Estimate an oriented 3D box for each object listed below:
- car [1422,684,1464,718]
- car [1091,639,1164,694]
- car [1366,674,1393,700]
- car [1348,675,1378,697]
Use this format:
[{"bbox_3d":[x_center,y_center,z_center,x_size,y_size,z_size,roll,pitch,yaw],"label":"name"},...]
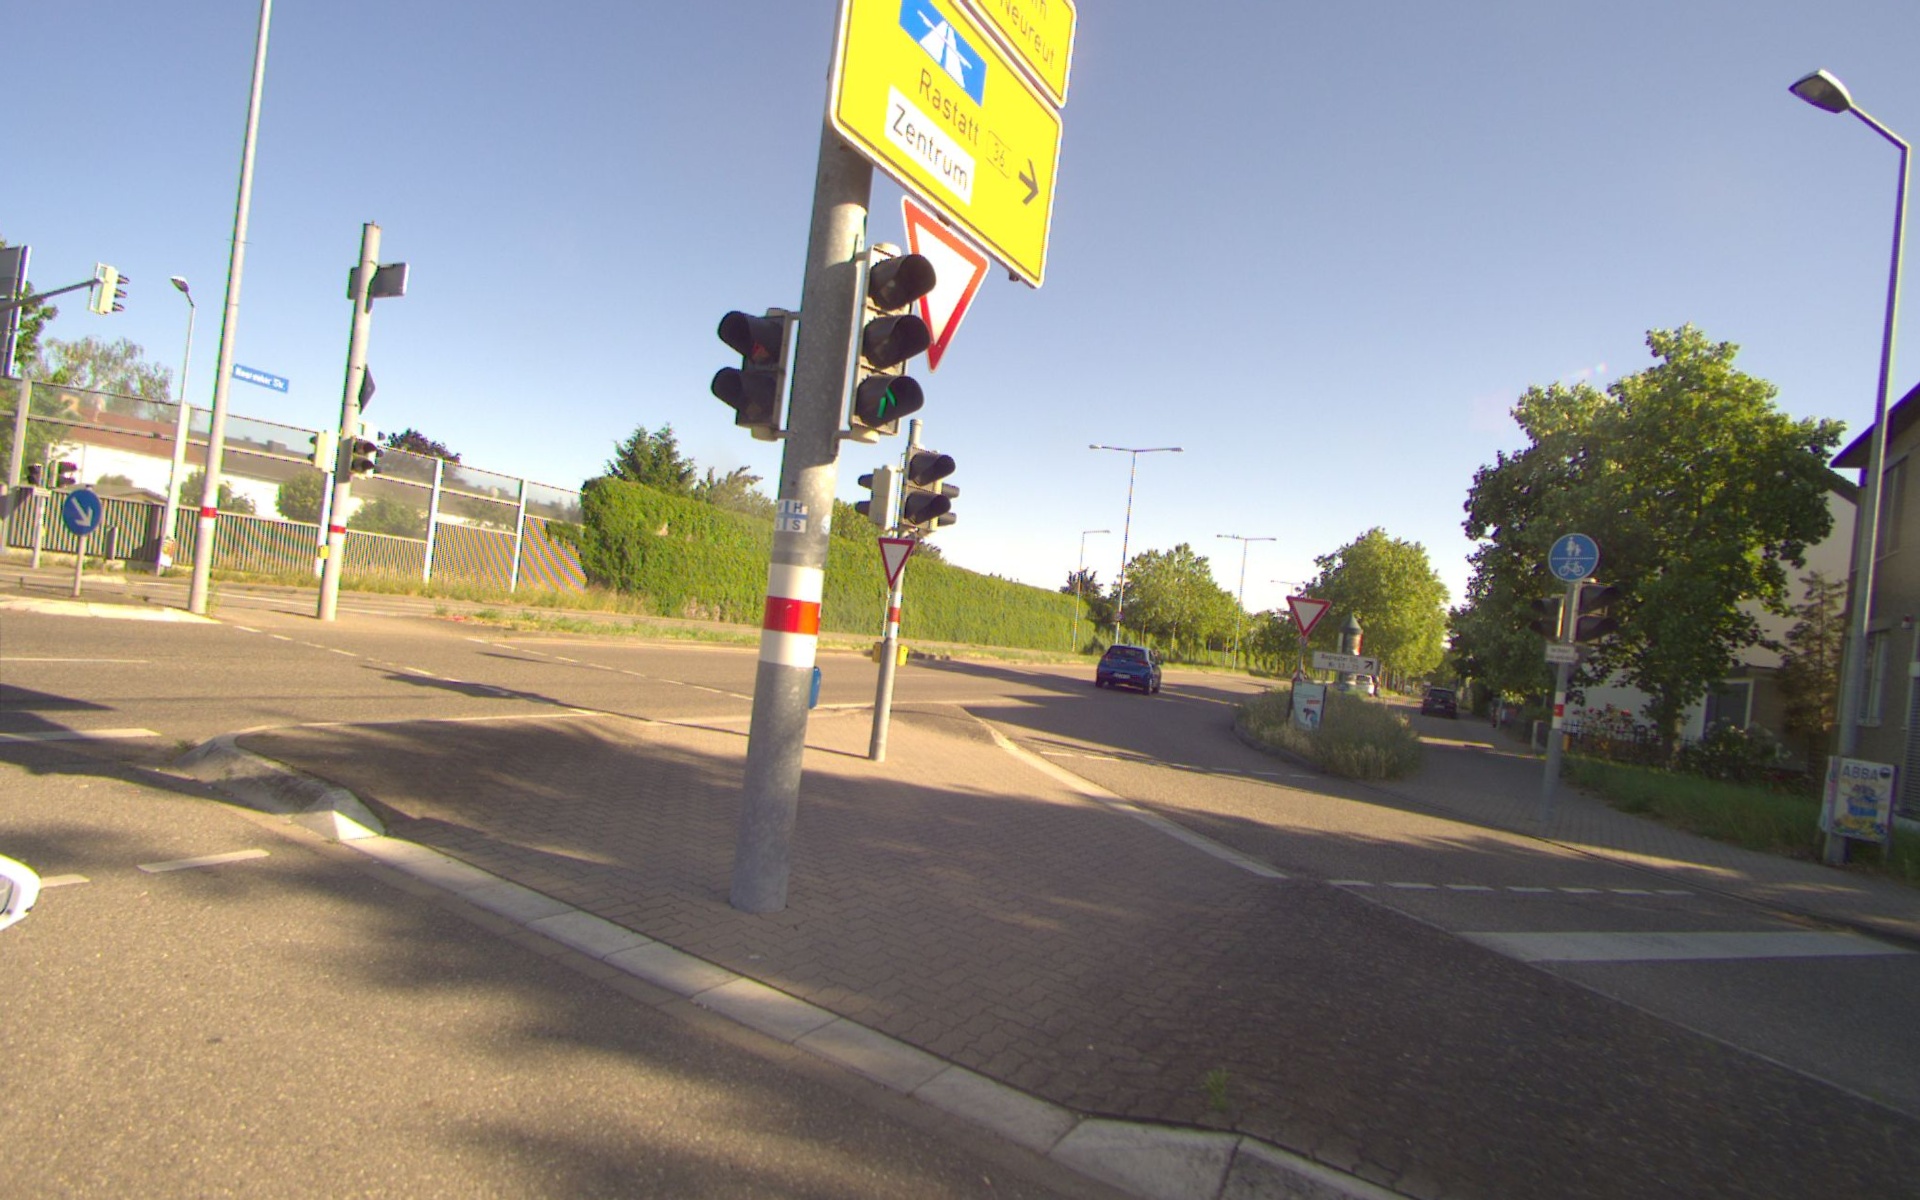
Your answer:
[{"bbox_3d":[27.872,5.809,58.082,1.965,1.637,3.998,7,-1,26],"label":"car"},{"bbox_3d":[5.466,2.118,32.456,1.704,1.458,3.795,7,-1,17],"label":"car"},{"bbox_3d":[35.212,7.300,84.405,1.703,1.839,3.998,7,-1,26],"label":"car"},{"bbox_3d":[31.035,6.645,77.454,1.703,1.450,3.998,7,-1,26],"label":"car"}]
